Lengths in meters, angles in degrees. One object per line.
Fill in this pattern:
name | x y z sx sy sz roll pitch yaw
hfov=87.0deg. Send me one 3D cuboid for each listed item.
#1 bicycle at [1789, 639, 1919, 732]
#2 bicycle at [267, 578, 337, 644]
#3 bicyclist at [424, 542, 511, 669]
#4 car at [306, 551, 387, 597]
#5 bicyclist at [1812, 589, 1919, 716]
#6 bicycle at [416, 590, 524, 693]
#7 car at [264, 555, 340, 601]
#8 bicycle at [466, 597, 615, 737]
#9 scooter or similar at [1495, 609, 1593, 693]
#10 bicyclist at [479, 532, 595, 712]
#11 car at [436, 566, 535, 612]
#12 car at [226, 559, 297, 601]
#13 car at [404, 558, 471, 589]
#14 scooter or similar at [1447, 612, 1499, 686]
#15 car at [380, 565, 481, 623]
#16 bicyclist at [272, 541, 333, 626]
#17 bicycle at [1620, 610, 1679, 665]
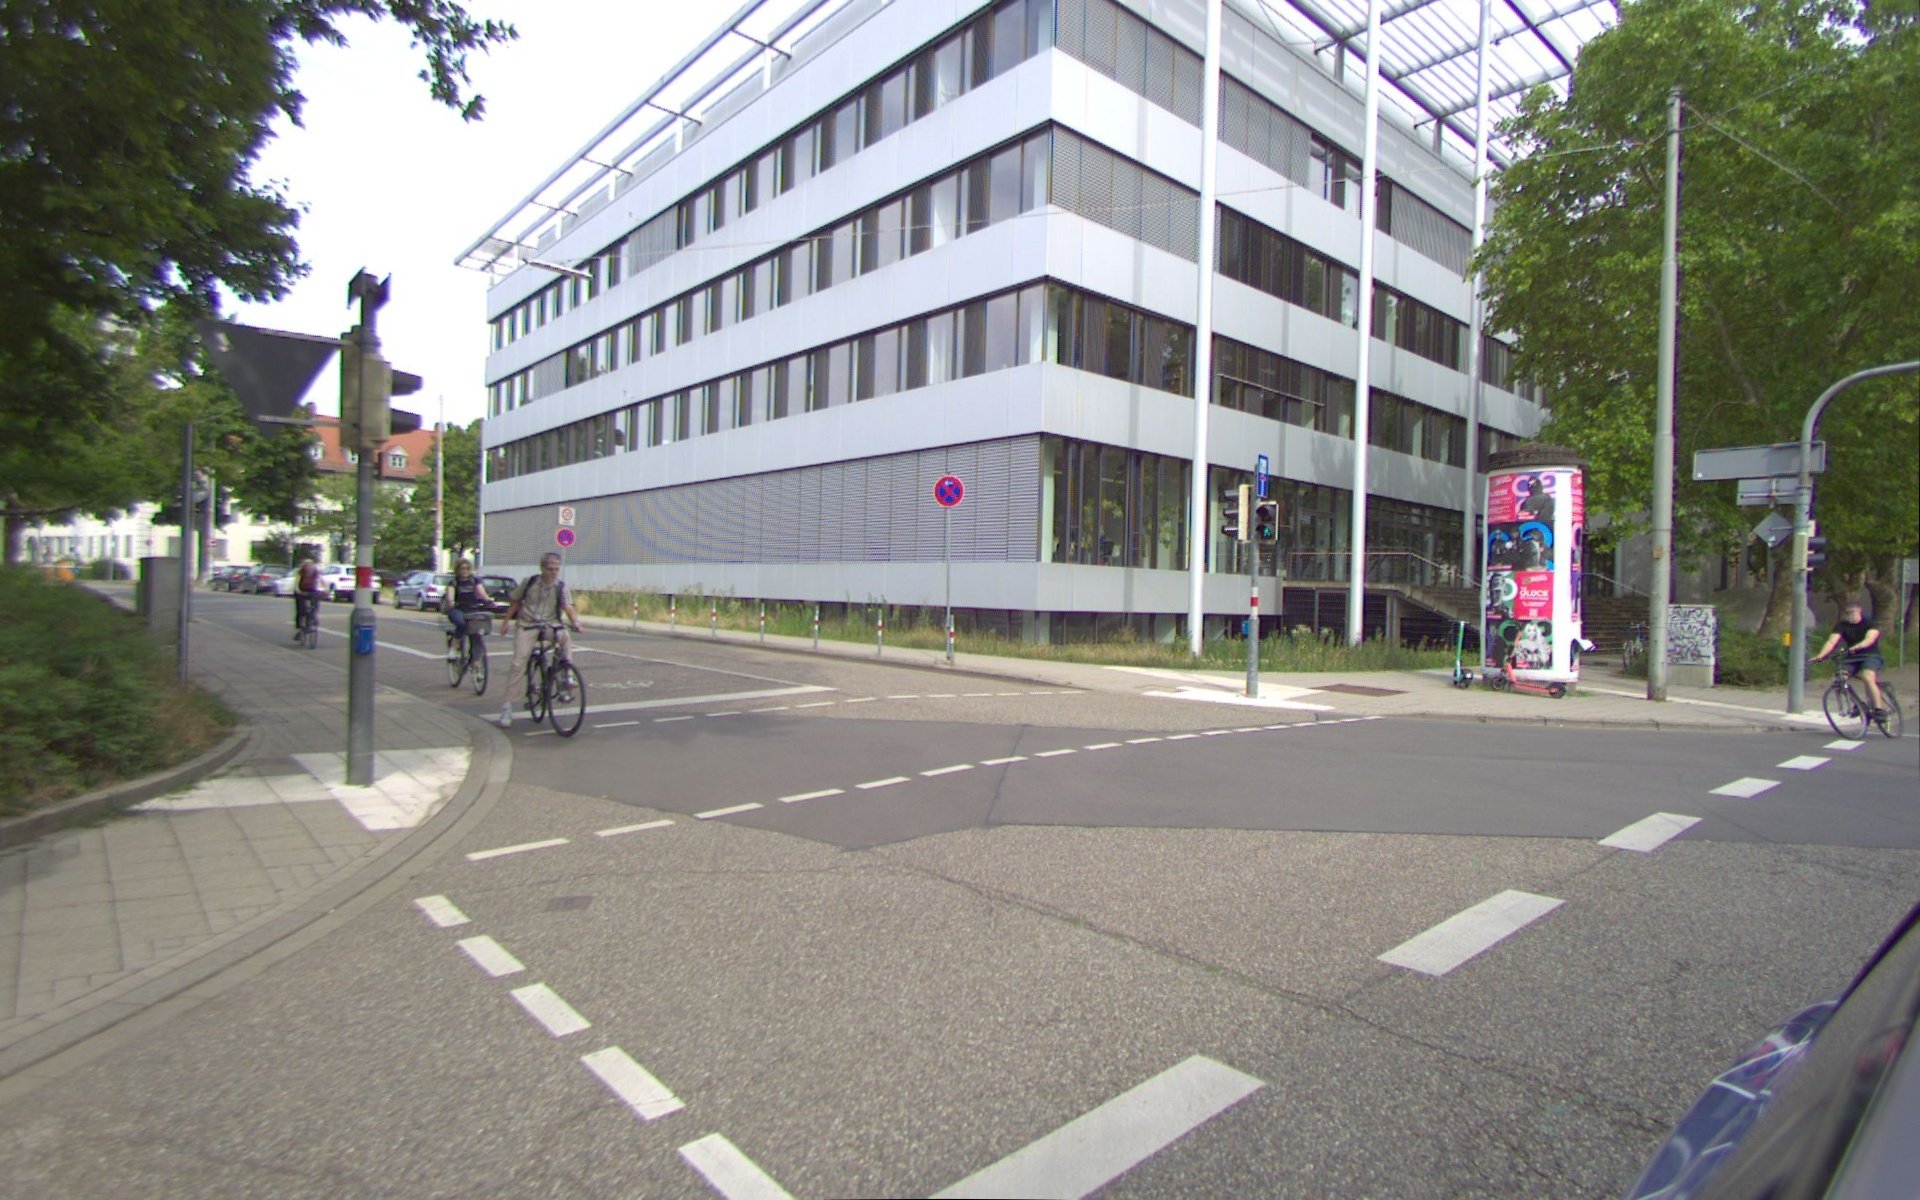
bicycle | 11.919 1.089 13.266 1.962 1.145 0.775 1 -2 -22
bicycle | -12.738 0.182 19.562 0.899 1.187 2.249 0 1 -40
bicyclist | -6.460 0.054 13.265 0.898 1.596 0.831 0 1 -36
car | -27.038 -1.085 44.572 3.862 1.885 1.925 0 -1 41
bicyclist | 11.892 0.674 13.281 0.784 1.604 0.775 1 -2 -22
bicycle | -6.436 0.481 13.224 0.898 1.187 2.252 0 1 -36
car | -31.171 -1.012 47.902 3.982 2.039 1.971 0 -1 41
bicycle | -4.265 0.594 10.182 0.898 1.187 2.252 0 1 -36
scooter or similar | 9.562 0.814 16.606 0.338 1.224 1.311 1 2 -36
bicyclist | -4.251 0.195 10.161 0.898 1.699 0.831 0 1 -36
car | -16.031 -0.347 34.123 3.635 1.462 1.651 0 -1 41
car | -35.657 -0.993 51.635 3.982 2.039 1.971 0 -1 41
car | -38.025 -1.895 73.687 3.929 2.039 1.997 1 -1 -40
scooter or similar | 8.860 0.820 17.511 0.465 1.151 1.304 3 2 15
car | -19.648 -0.181 37.496 3.982 2.039 1.971 0 -1 41
bicyclist | -12.666 -0.319 19.489 0.899 1.596 0.831 0 1 -40
bicycle | 15.501 0.827 22.741 1.695 1.184 0.699 1 -1 -41
